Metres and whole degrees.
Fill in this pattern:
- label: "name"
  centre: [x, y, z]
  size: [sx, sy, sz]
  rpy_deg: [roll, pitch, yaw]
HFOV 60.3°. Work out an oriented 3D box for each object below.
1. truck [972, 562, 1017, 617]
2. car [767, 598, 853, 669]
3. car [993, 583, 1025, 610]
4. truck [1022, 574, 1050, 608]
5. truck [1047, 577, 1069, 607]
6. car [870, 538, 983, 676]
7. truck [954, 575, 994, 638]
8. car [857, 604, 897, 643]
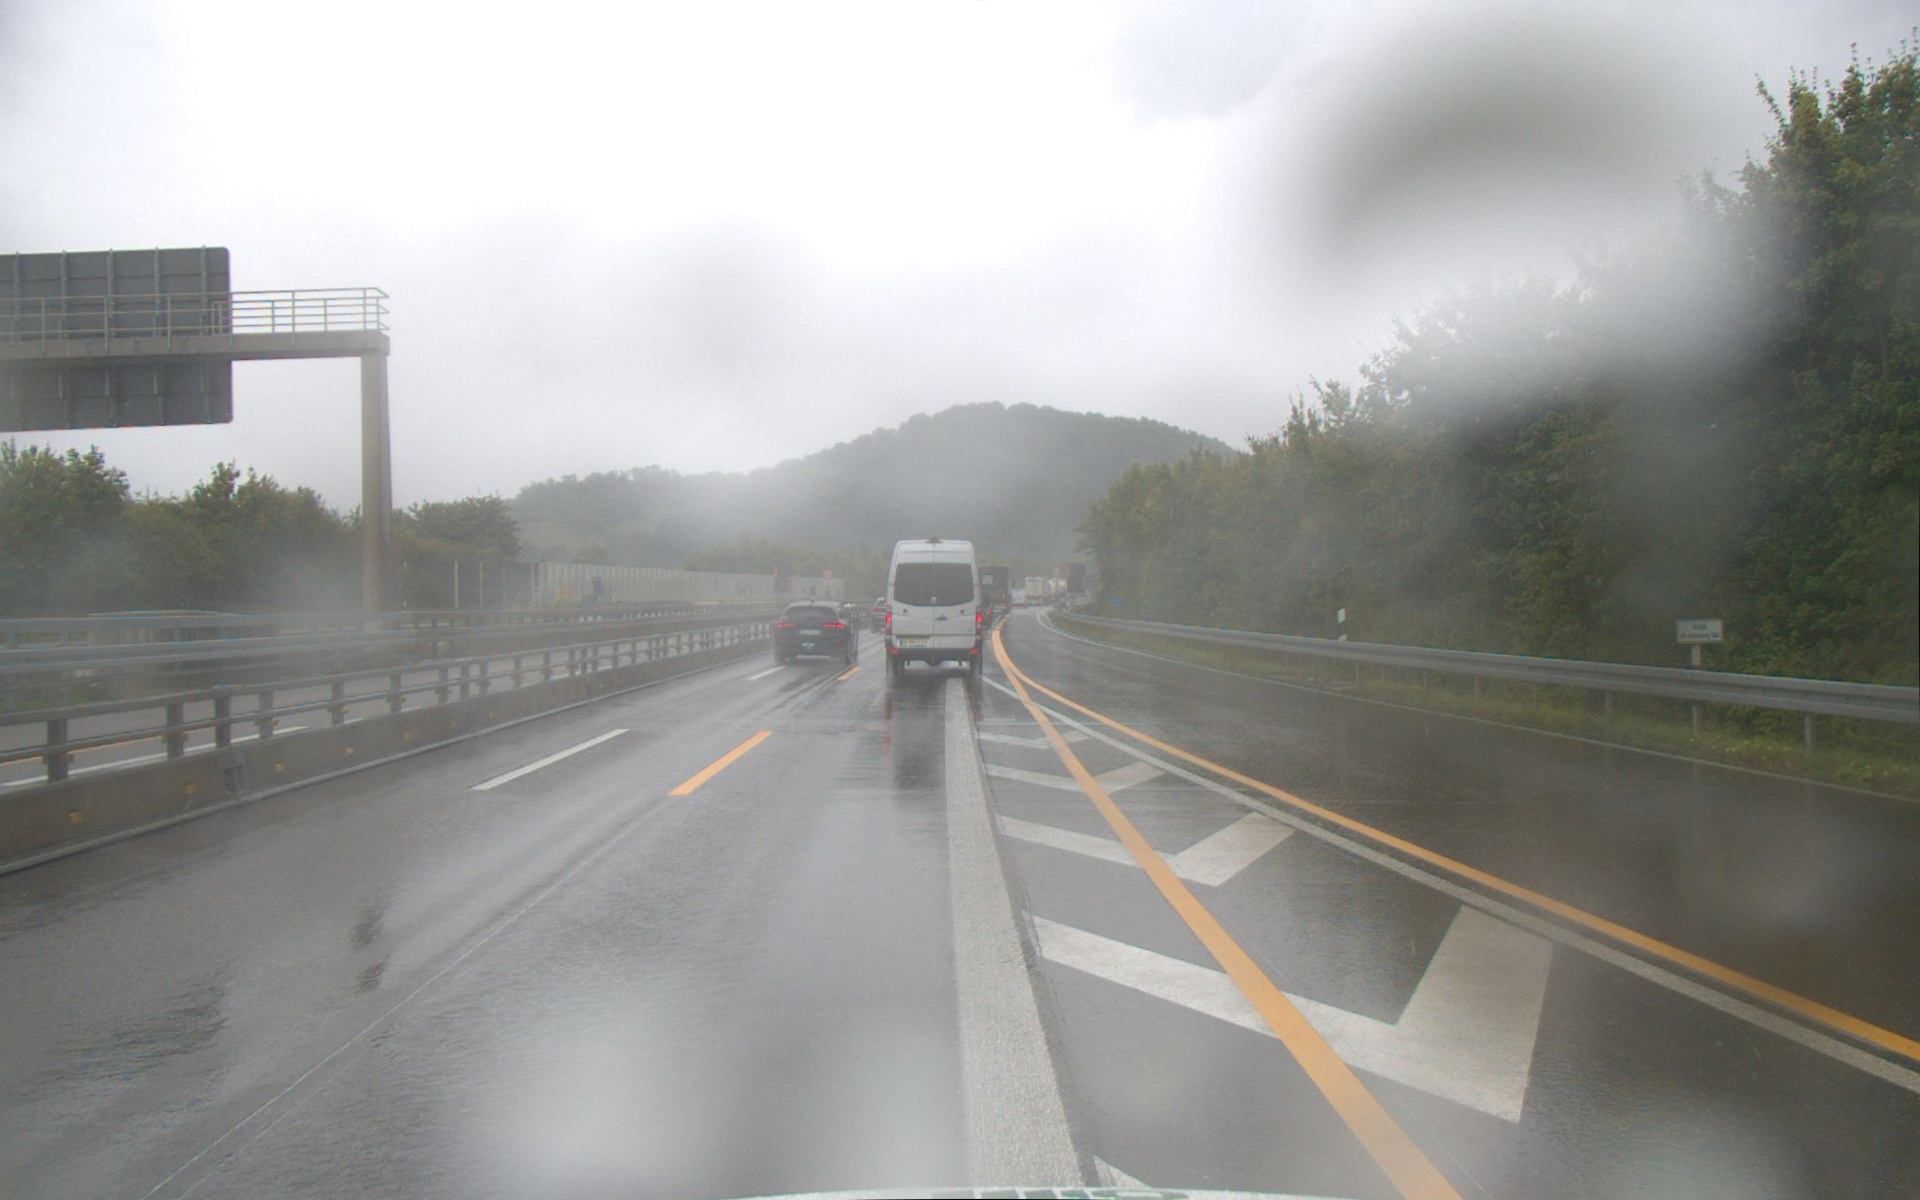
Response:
- label: "truck"
  centre: [2.977, -0.857, 140.970]
  size: [3.506, 4.483, 9.627]
  rpy_deg: [1, 0, 3]
- label: "car"
  centre: [-3.526, 0.771, 39.379]
  size: [1.908, 1.588, 3.997]
  rpy_deg: [1, 0, -4]
- label: "car"
  centre: [5.606, -0.377, 188.215]
  size: [2.836, 2.938, 6.416]
  rpy_deg: [1, 0, 8]
- label: "truck"
  centre: [10.416, -1.169, 226.602]
  size: [2.971, 4.483, 9.631]
  rpy_deg: [1, 0, 7]
- label: "truck"
  centre: [15.516, -1.248, 260.334]
  size: [2.837, 4.483, 9.630]
  rpy_deg: [1, 0, 7]
- label: "car"
  centre: [-0.596, 0.147, 34.281]
  size: [2.101, 2.616, 5.390]
  rpy_deg: [1, 0, 1]
- label: "truck"
  centre: [0.795, 0.371, 88.287]
  size: [1.952, 3.163, 8.500]
  rpy_deg: [1, 0, 1]
- label: "car"
  centre: [-3.637, 1.037, 73.251]
  size: [1.672, 1.656, 3.998]
  rpy_deg: [1, 0, -2]
